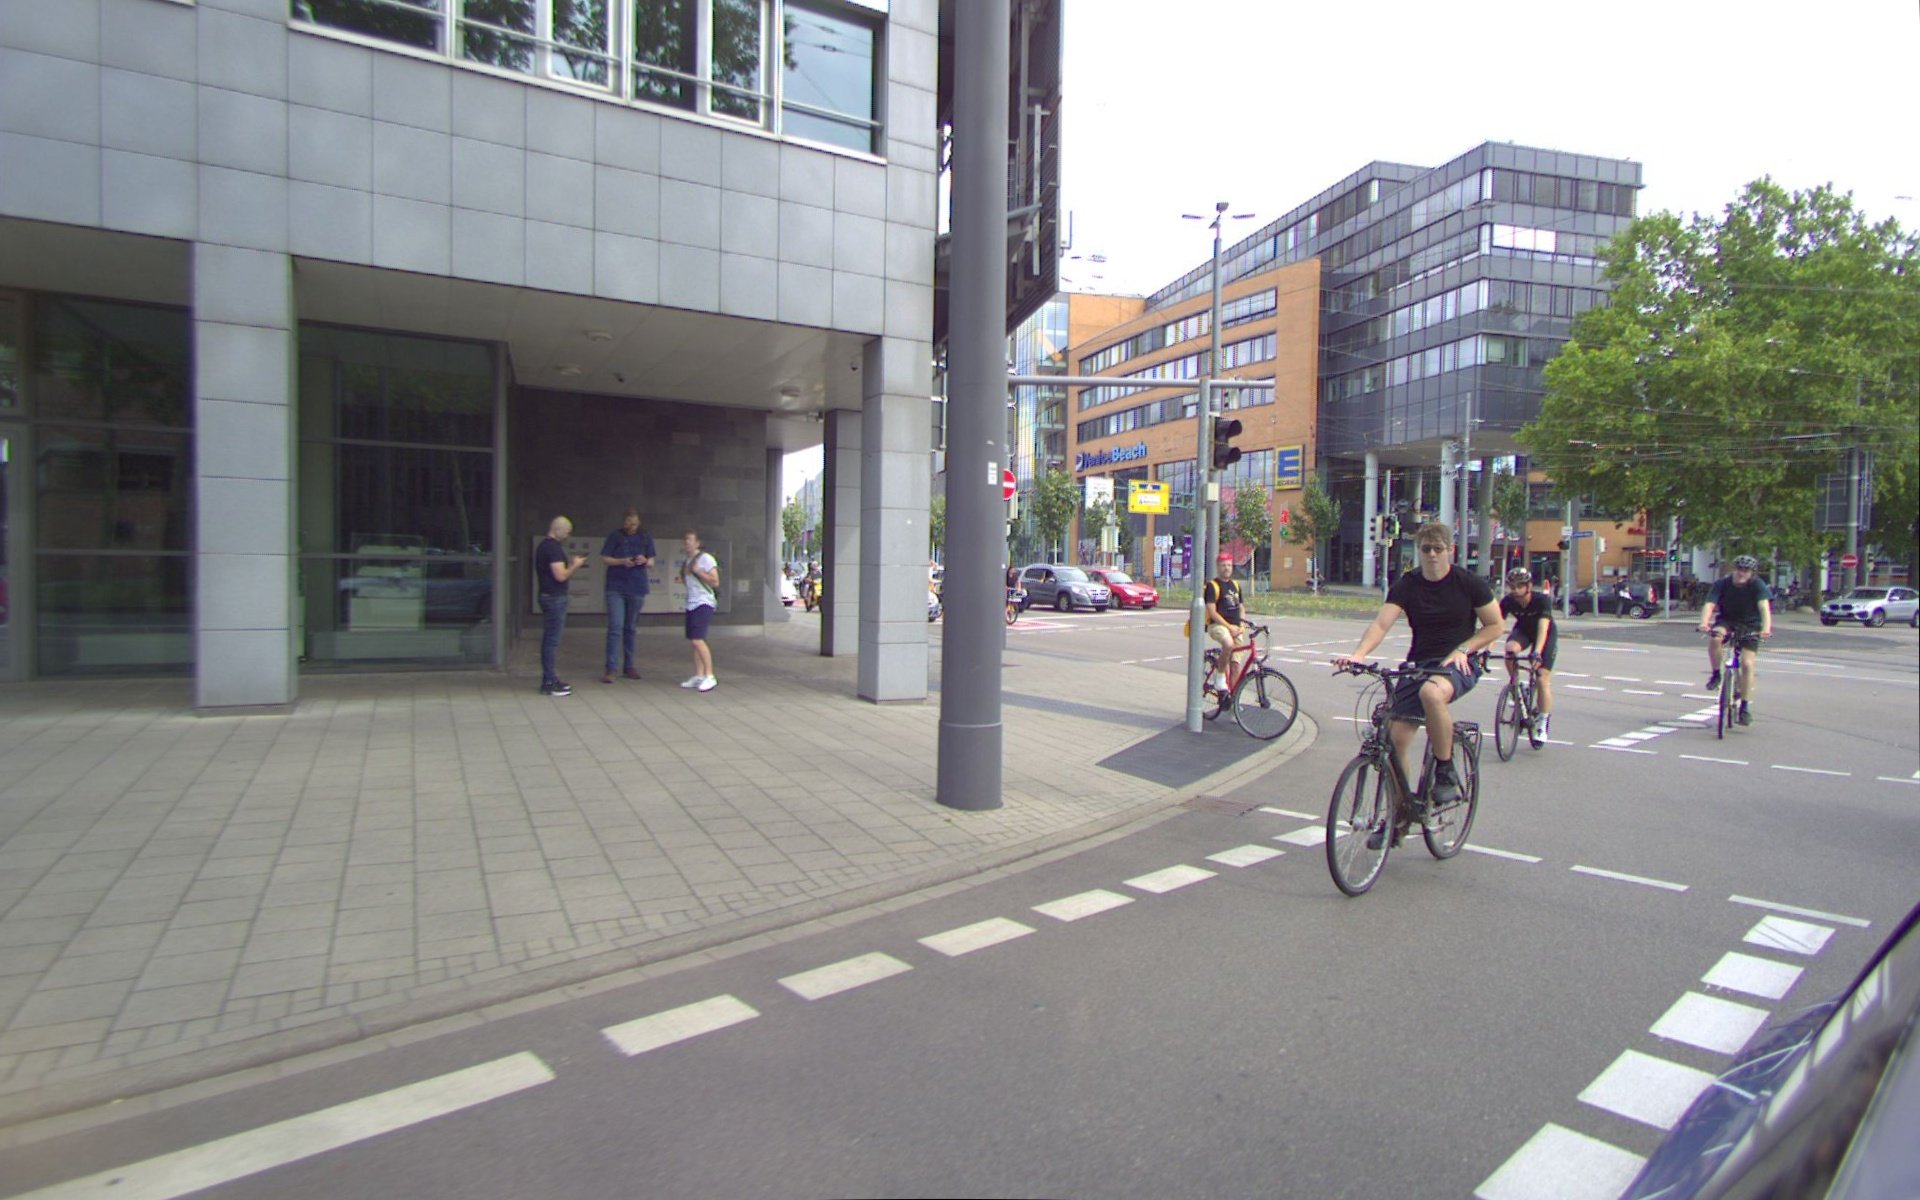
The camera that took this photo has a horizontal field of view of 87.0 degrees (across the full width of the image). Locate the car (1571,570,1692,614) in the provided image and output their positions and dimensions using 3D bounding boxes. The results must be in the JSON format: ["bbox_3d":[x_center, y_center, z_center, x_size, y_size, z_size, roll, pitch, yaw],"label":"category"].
[{"bbox_3d":[29.539,-0.394,44.597,4.166,1.759,1.935,3,3,43],"label":"car"}]

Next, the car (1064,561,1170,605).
[{"bbox_3d":[5.811,-0.675,37.857,1.787,1.450,4.005,-2,4,-31],"label":"car"}]

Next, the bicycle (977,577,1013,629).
[{"bbox_3d":[0.910,0.042,25.732,0.650,1.152,2.436,0,4,8],"label":"bicycle"}]

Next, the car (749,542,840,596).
[{"bbox_3d":[-5.862,-1.139,35.455,1.787,1.782,4.005,-1,3,-31],"label":"car"}]

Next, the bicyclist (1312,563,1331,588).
[{"bbox_3d":[23.838,-1.617,66.768,0.625,1.635,0.979,-1,3,-32],"label":"bicyclist"}]

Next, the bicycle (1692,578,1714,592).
[{"bbox_3d":[49.189,-1.006,66.985,1.510,0.928,0.537,-1,3,-30],"label":"bicycle"}]

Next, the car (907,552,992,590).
[{"bbox_3d":[-0.503,-1.283,42.714,1.787,1.478,4.005,-2,4,-31],"label":"car"}]

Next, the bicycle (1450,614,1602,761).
[{"bbox_3d":[5.163,0.738,9.192,1.704,1.152,0.595,-1,3,-40],"label":"bicycle"}]

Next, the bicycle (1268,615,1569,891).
[{"bbox_3d":[2.513,0.700,5.414,2.054,1.152,0.595,-1,3,-40],"label":"bicycle"}]

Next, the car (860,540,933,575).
[{"bbox_3d":[-3.022,-2.043,47.566,1.787,1.551,4.005,-2,4,-31],"label":"car"}]

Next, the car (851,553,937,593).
[{"bbox_3d":[-2.718,-1.130,40.714,1.787,1.478,4.005,-2,4,-31],"label":"car"}]

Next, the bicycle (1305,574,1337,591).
[{"bbox_3d":[23.819,-1.171,66.782,0.626,1.023,2.007,-1,3,-32],"label":"bicycle"}]

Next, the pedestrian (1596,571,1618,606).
[{"bbox_3d":[31.184,-0.573,48.784,0.729,1.671,0.588,-1,3,-31],"label":"pedestrian"}]

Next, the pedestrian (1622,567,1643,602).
[{"bbox_3d":[34.660,-0.806,52.173,0.729,1.753,0.588,0,2,-32],"label":"pedestrian"}]

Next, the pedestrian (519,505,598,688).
[{"bbox_3d":[-4.014,-0.040,10.100,0.630,1.747,0.548,1,2,-29],"label":"pedestrian"}]

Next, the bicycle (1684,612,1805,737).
[{"bbox_3d":[8.310,0.740,10.696,1.825,1.152,0.595,-1,3,-40],"label":"bicycle"}]

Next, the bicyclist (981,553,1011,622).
[{"bbox_3d":[0.927,-0.339,25.849,0.649,1.694,1.033,0,3,8],"label":"bicyclist"}]

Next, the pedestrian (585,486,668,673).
[{"bbox_3d":[-3.789,-0.223,11.498,0.662,2.038,0.604,3,0,-33],"label":"pedestrian"}]

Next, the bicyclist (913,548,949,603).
[{"bbox_3d":[-0.910,-0.787,31.900,0.730,1.686,0.982,-2,3,-29],"label":"bicyclist"}]

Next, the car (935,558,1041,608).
[{"bbox_3d":[0.904,-0.642,35.155,1.787,1.551,4.005,-1,3,-31],"label":"car"}]

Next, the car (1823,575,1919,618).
[{"bbox_3d":[37.714,-0.162,41.239,4.542,1.682,1.969,-1,1,-22],"label":"car"}]

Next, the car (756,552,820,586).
[{"bbox_3d":[-8.642,-1.585,50.630,1.787,1.551,4.005,-2,4,-31],"label":"car"}]

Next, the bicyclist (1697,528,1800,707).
[{"bbox_3d":[8.337,0.156,10.695,1.016,1.792,0.591,-1,3,-40],"label":"bicyclist"}]

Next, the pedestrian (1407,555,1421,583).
[{"bbox_3d":[30.433,-2.069,67.895,0.615,1.889,0.672,2,2,6],"label":"pedestrian"}]

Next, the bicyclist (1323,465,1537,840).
[{"bbox_3d":[2.498,0.233,5.366,1.016,1.789,0.591,-1,3,-40],"label":"bicyclist"}]

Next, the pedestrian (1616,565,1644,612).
[{"bbox_3d":[26.390,-0.450,39.873,0.657,1.813,0.678,-1,3,-37],"label":"pedestrian"}]

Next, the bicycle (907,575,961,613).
[{"bbox_3d":[-0.827,-0.212,31.821,0.735,1.069,2.225,-3,4,-29],"label":"bicycle"}]

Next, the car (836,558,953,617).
[{"bbox_3d":[-2.004,-0.432,29.885,1.787,1.551,4.005,-2,4,-31],"label":"car"}]

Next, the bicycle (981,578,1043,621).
[{"bbox_3d":[1.461,-0.042,28.725,0.670,1.069,2.209,-3,4,-29],"label":"bicycle"}]

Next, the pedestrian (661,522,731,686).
[{"bbox_3d":[-2.902,0.032,11.121,0.546,1.747,0.495,1,2,-40],"label":"pedestrian"}]

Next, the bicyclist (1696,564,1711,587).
[{"bbox_3d":[49.224,-1.623,66.978,0.723,1.450,0.532,-1,3,-29],"label":"bicyclist"}]

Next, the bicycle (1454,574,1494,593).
[{"bbox_3d":[29.702,-0.938,58.553,0.625,1.023,2.007,0,3,-32],"label":"bicycle"}]

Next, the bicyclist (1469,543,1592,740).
[{"bbox_3d":[5.178,0.336,9.179,1.016,1.674,0.591,-1,3,-40],"label":"bicyclist"}]

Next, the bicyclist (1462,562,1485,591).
[{"bbox_3d":[29.705,-1.346,58.533,0.625,1.635,0.979,0,3,-32],"label":"bicyclist"}]

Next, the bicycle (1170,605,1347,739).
[{"bbox_3d":[3.055,0.684,10.570,0.711,1.152,1.909,0,3,-22],"label":"bicycle"}]

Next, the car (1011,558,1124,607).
[{"bbox_3d":[3.744,-0.663,35.862,1.787,1.551,4.225,-2,4,-31],"label":"car"}]

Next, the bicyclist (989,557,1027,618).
[{"bbox_3d":[1.365,-0.370,28.870,0.662,1.686,0.982,-2,3,-29],"label":"bicyclist"}]

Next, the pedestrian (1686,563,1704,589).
[{"bbox_3d":[50.907,-1.688,70.127,0.730,1.753,0.587,1,2,4],"label":"pedestrian"}]

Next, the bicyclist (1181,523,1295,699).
[{"bbox_3d":[2.959,0.091,10.839,0.704,1.785,0.918,0,2,-22],"label":"bicyclist"}]

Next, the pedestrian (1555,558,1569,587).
[{"bbox_3d":[39.108,-1.806,65.718,0.504,1.889,0.547,1,2,-12],"label":"pedestrian"}]

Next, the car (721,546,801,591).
[{"bbox_3d":[-7.866,-1.269,39.763,1.787,1.640,4.172,-1,3,-31],"label":"car"}]
